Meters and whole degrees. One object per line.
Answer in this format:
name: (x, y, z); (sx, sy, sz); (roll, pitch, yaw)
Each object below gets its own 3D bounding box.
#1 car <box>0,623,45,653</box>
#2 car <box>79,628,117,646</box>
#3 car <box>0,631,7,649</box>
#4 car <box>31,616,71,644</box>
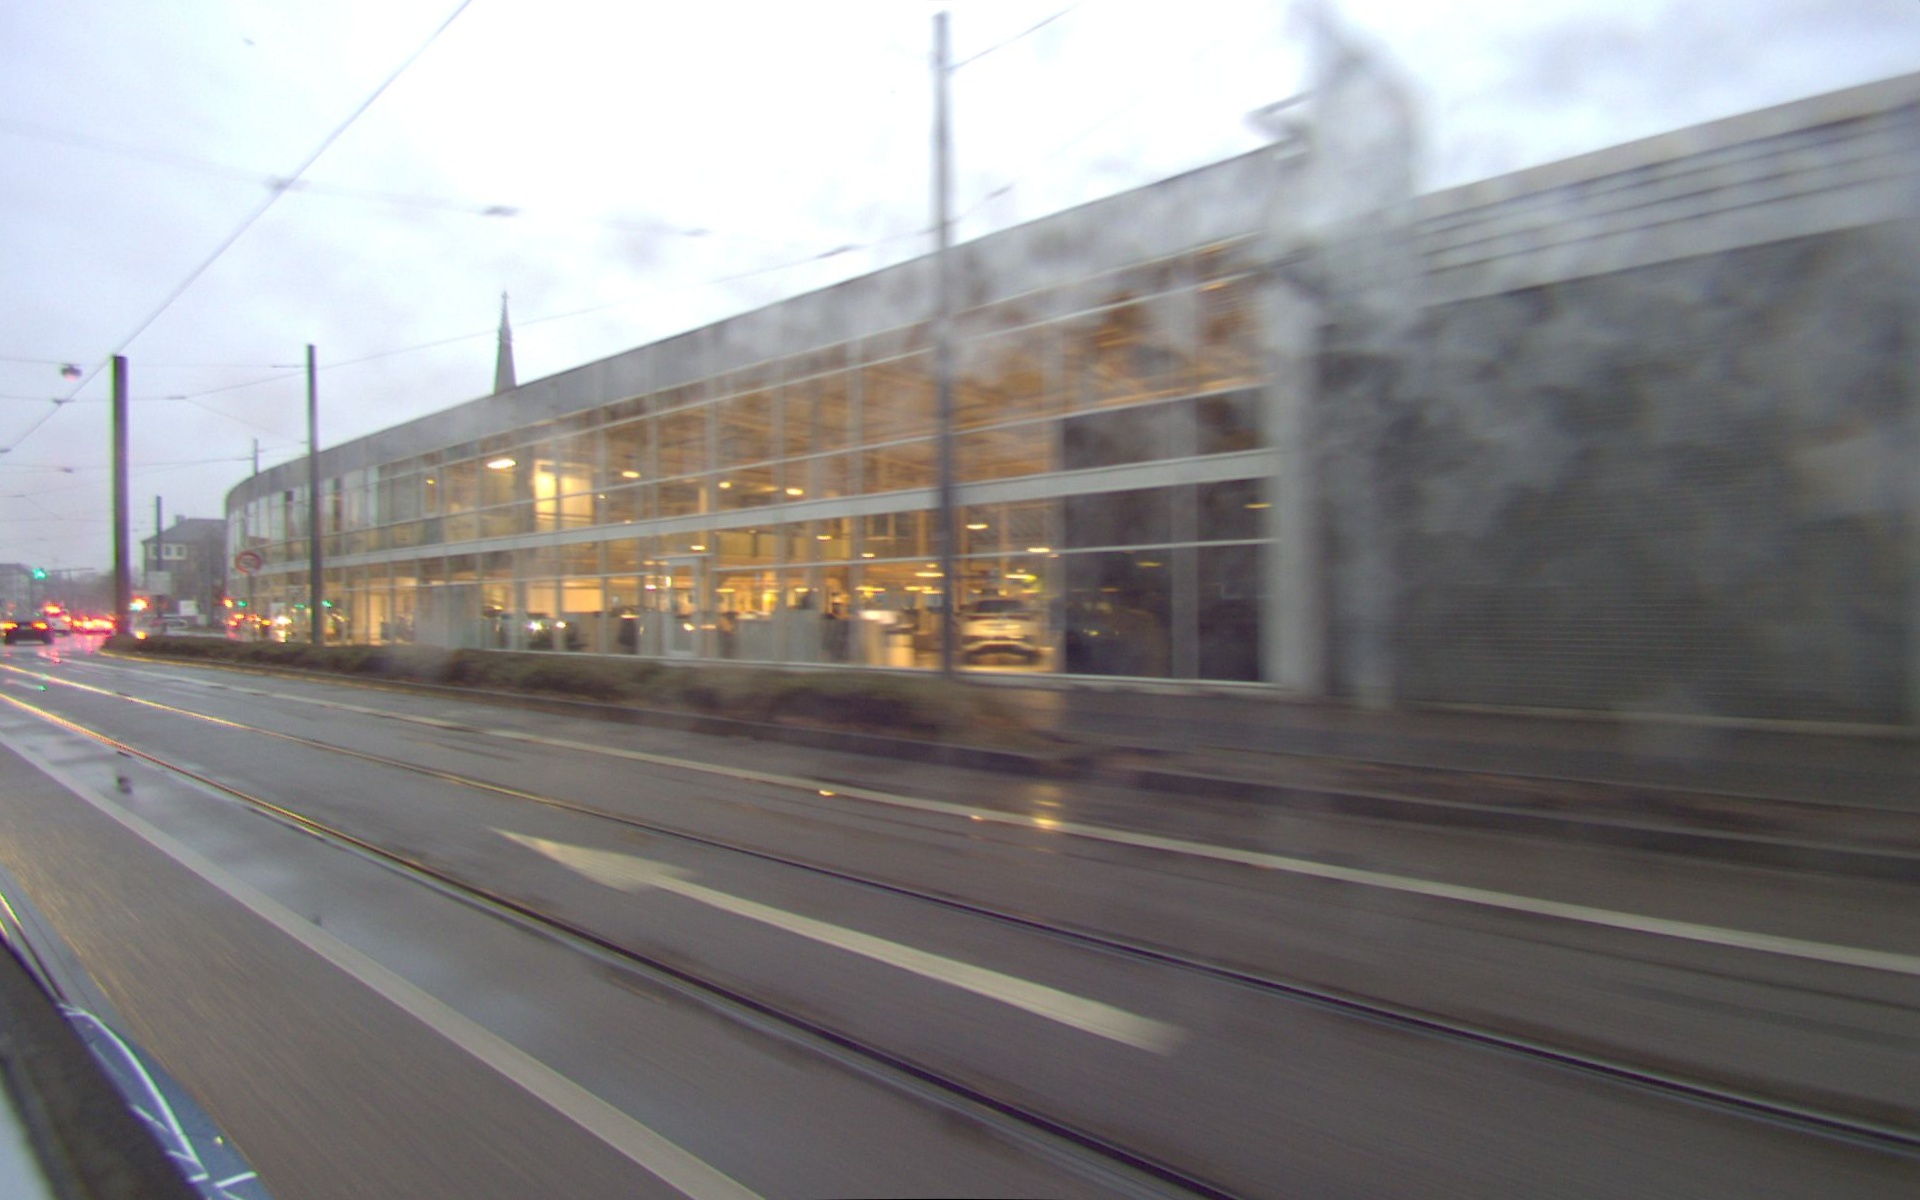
car: (-51.584, 2.058, 55.436); (4.442, 1.590, 1.821); (-1, -1, 43)
car: (-71.403, 3.046, 83.773); (4.589, 1.432, 1.971); (-1, 0, 44)
car: (-78.438, 3.245, 81.743); (4.001, 1.401, 1.850); (-1, -3, 44)
car: (-70.072, 2.259, 77.988); (4.687, 2.029, 1.971); (-1, 0, 45)
